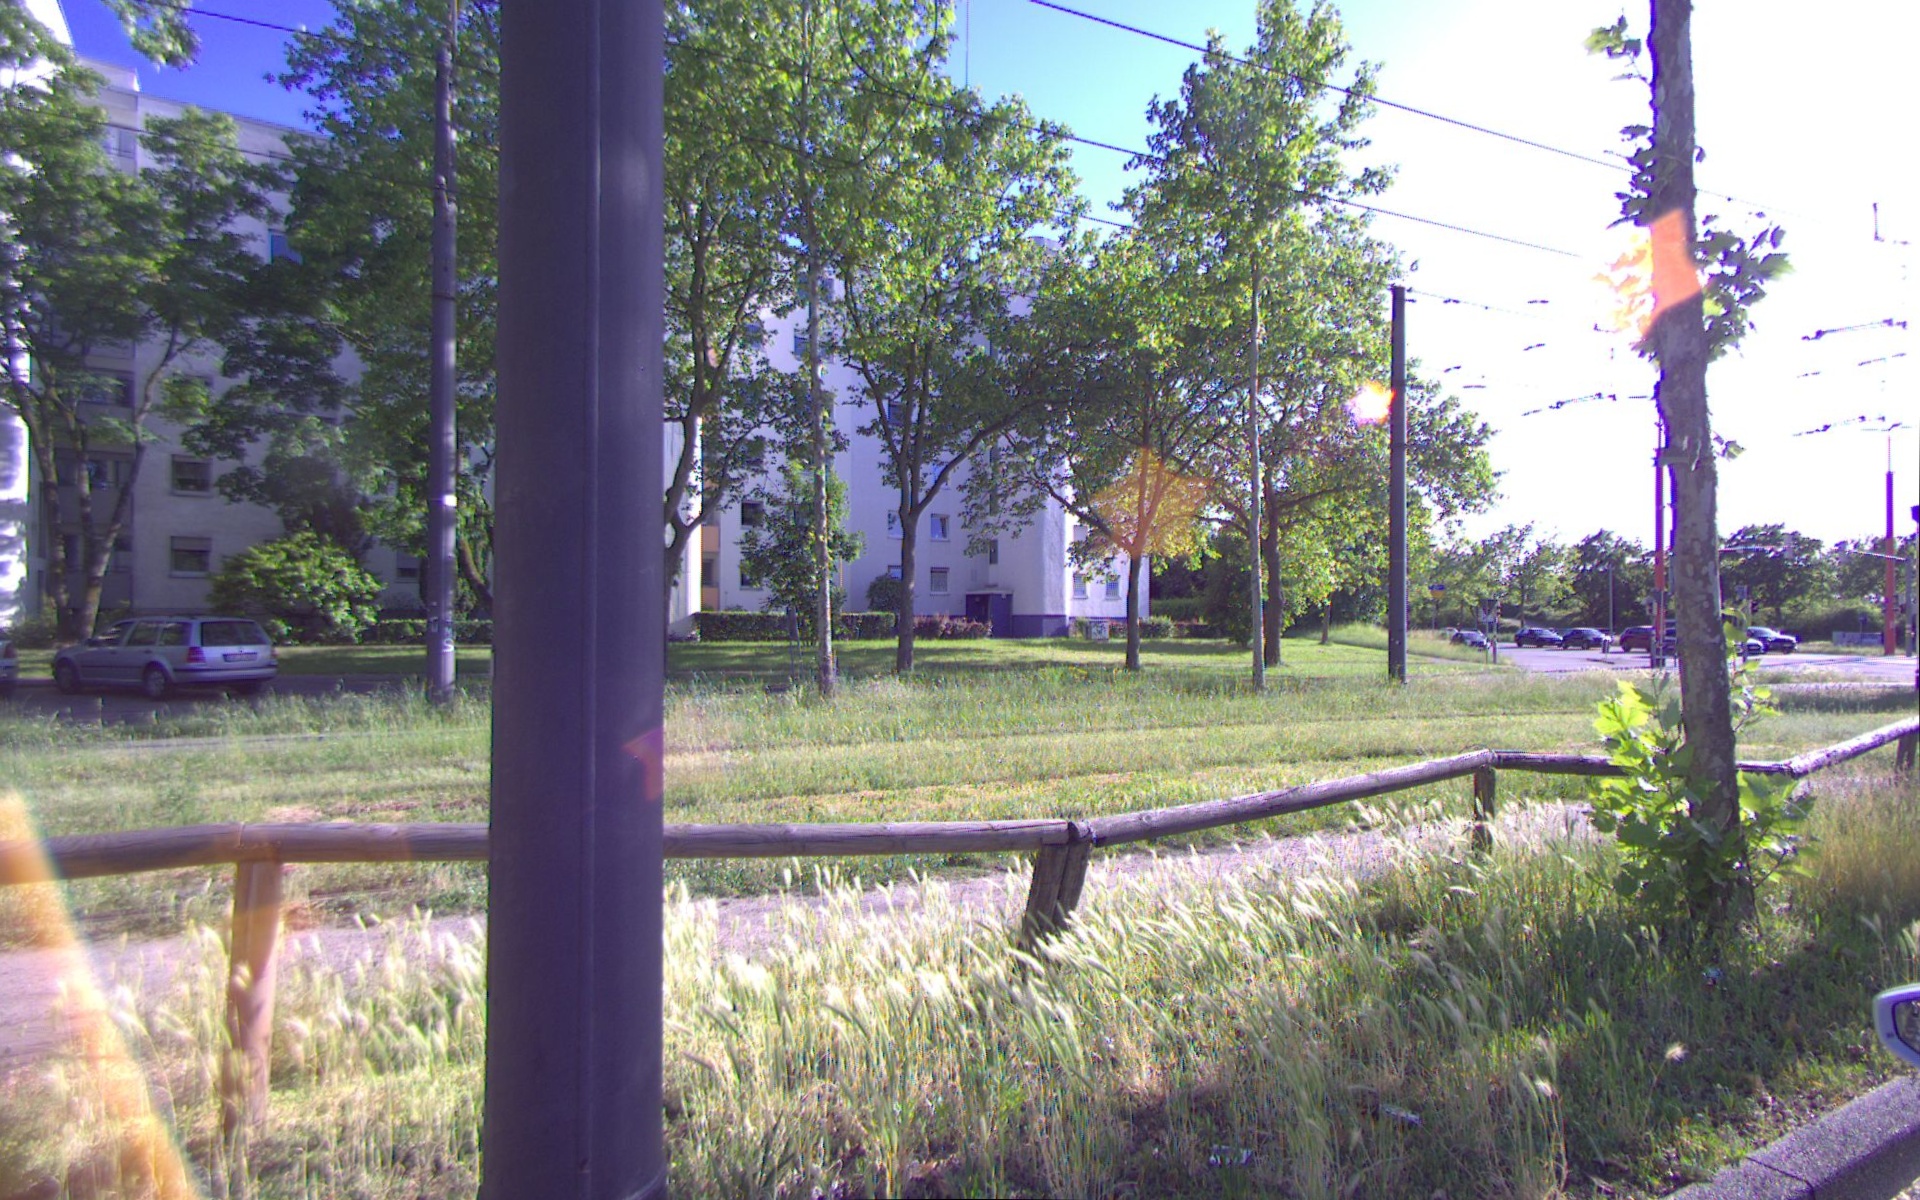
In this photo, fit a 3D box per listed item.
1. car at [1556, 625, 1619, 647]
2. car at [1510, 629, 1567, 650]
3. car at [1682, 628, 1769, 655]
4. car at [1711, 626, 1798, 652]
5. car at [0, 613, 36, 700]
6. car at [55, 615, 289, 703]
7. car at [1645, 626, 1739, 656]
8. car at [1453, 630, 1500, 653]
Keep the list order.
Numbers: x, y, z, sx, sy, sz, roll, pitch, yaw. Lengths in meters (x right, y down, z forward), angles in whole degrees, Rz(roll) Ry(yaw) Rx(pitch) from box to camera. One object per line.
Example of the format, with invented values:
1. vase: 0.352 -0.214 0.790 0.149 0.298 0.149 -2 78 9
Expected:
1. car: 45.006 2.568 72.133 1.877 1.483 4.055 1 -1 -3
2. car: 44.827 3.048 77.938 1.877 1.483 4.239 1 -1 -3
3. car: 45.661 2.467 60.033 1.877 1.483 4.222 1 -1 -2
4. car: 48.626 2.393 61.583 1.877 1.483 4.222 1 -1 -2
5. car: -17.922 0.931 17.138 3.609 1.452 1.703 0 -1 20
6. car: -14.478 1.029 18.481 3.609 1.452 1.732 0 -1 20
7. car: 42.565 2.373 58.521 1.877 1.619 4.795 1 -1 -2
8. car: 35.090 2.803 68.304 1.790 1.439 3.761 1 -1 10
